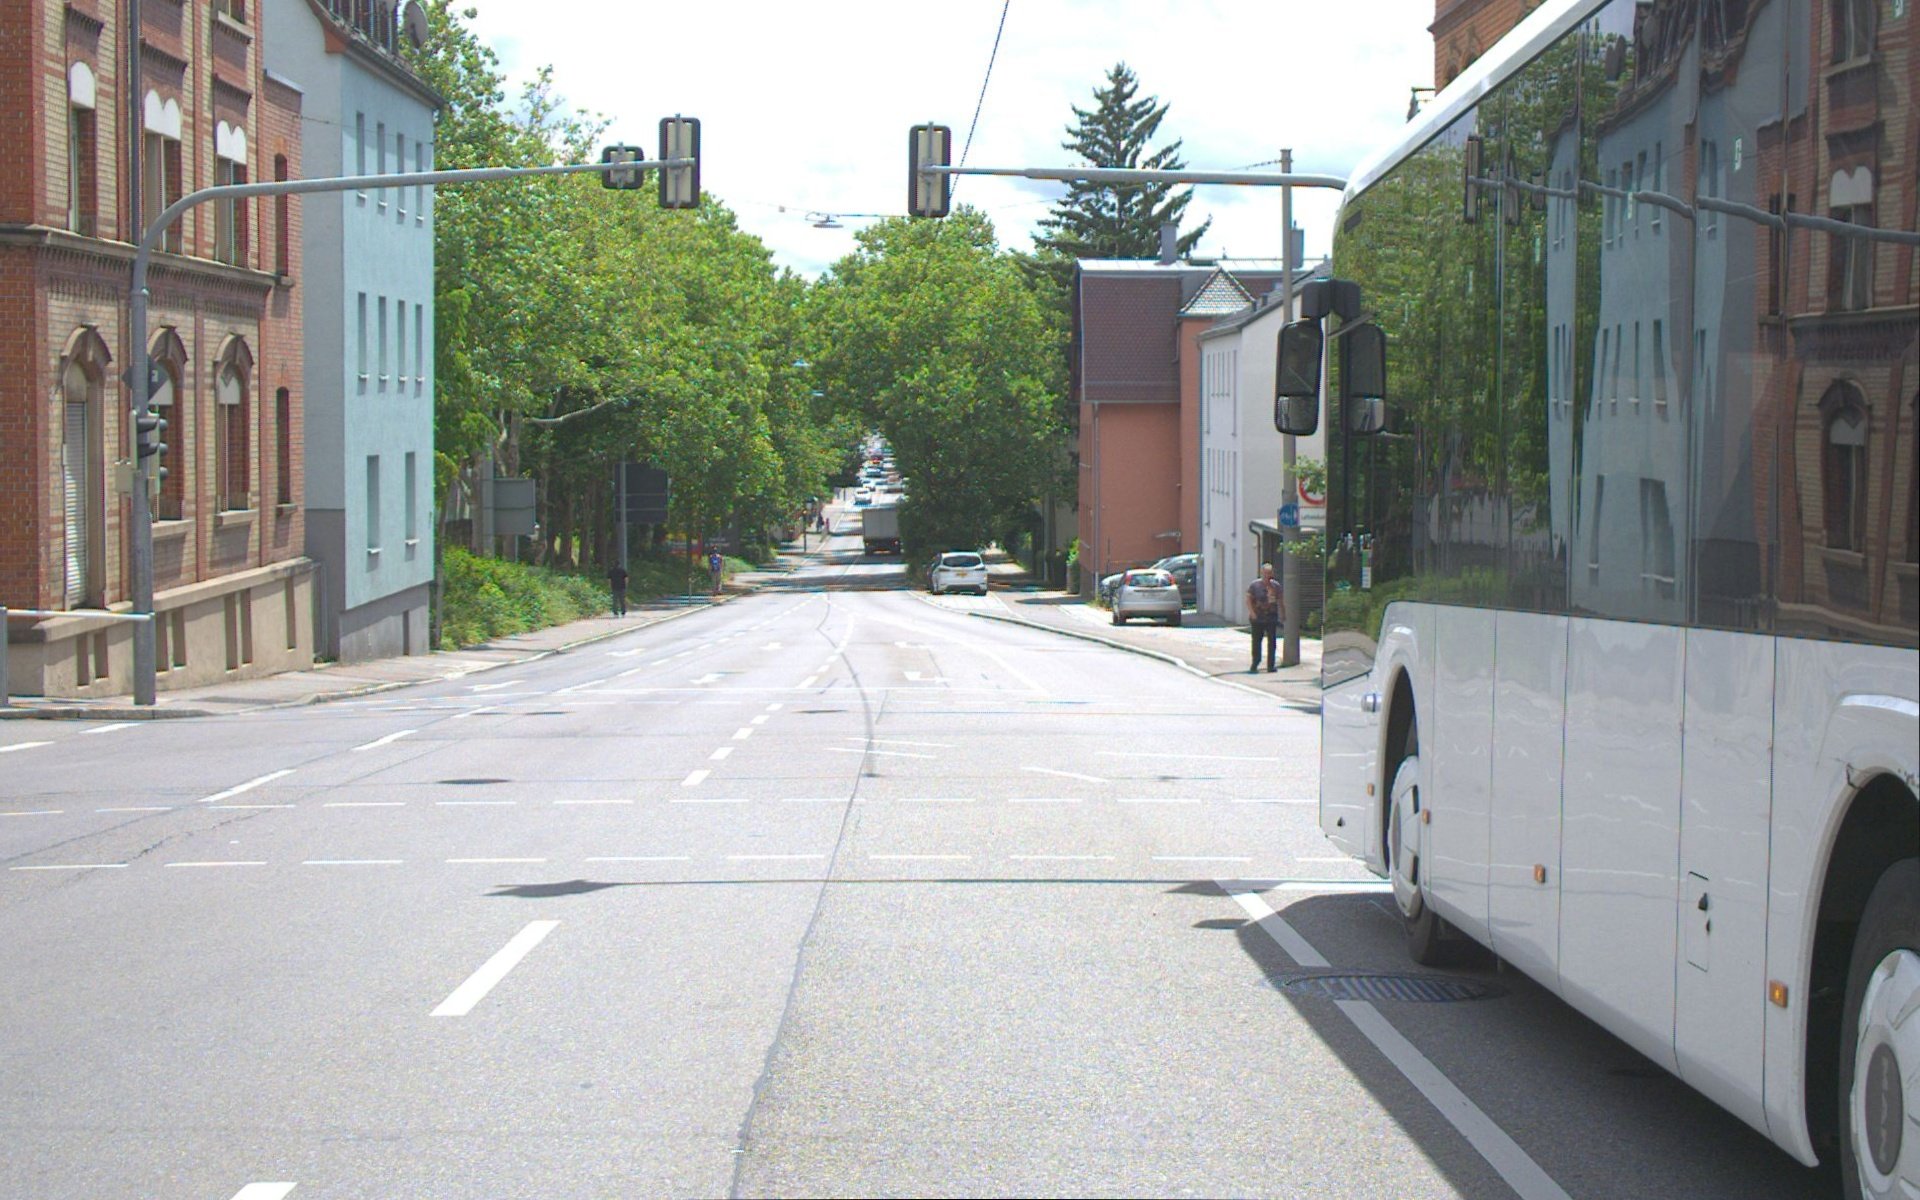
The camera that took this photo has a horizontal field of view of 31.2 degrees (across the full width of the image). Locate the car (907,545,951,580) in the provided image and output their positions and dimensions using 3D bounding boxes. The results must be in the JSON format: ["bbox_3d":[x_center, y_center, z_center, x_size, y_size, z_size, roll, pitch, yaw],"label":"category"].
[{"bbox_3d":[-1.289,-1.590,145.822,1.794,1.405,4.419,1,1,0],"label":"car"}]

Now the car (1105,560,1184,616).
[{"bbox_3d":[4.980,-0.338,93.067,1.794,1.405,4.001,-1,1,-2],"label":"car"}]

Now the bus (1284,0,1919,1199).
[{"bbox_3d":[2.855,-0.234,9.329,2.672,3.145,12.462,0,1,0],"label":"bus"}]

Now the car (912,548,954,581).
[{"bbox_3d":[-1.188,-1.597,154.148,1.794,1.405,4.419,1,1,0],"label":"car"}]

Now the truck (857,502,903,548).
[{"bbox_3d":[-5.567,-5.185,237.633,2.926,3.070,7.886,-1,1,-3],"label":"truck"}]

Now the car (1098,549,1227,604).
[{"bbox_3d":[6.656,-0.787,113.166,3.986,1.751,2.000,-1,1,-5],"label":"car"}]

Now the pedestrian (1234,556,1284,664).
[{"bbox_3d":[4.850,0.158,55.775,0.738,1.744,0.619,-1,1,-1],"label":"pedestrian"}]

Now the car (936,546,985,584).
[{"bbox_3d":[0.026,-1.312,129.413,1.794,1.405,4.000,1,1,0],"label":"car"}]

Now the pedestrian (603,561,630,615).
[{"bbox_3d":[-9.907,-0.356,99.176,0.729,1.560,0.561,0,1,-1],"label":"pedestrian"}]
